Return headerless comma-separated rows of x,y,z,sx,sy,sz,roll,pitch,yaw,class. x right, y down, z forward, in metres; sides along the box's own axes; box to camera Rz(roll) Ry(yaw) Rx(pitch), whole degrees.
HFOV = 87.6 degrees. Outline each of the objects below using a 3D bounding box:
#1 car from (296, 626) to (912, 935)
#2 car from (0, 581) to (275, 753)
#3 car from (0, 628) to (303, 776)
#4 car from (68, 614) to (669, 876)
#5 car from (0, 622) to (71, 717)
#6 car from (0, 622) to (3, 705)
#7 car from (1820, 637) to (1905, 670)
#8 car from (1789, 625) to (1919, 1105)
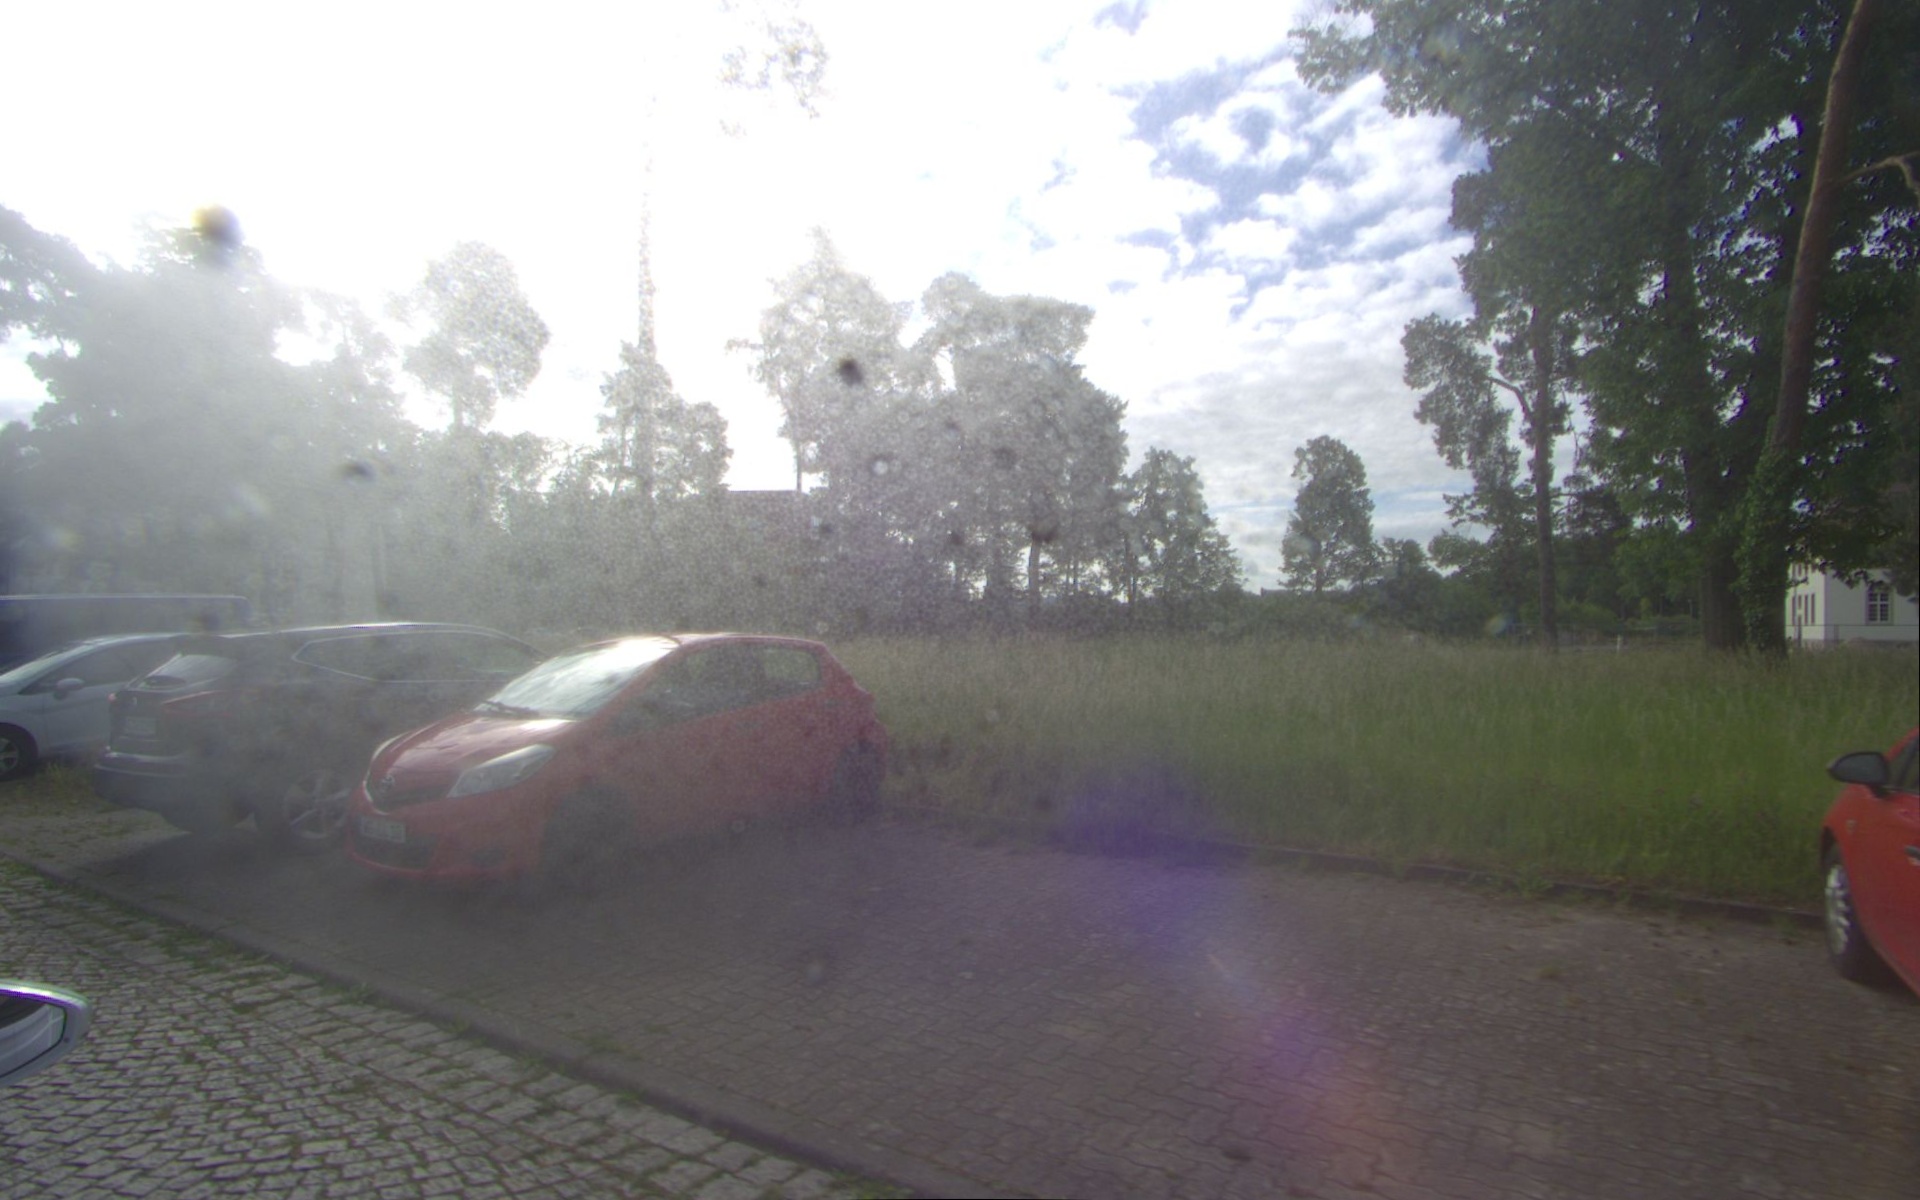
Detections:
-2.183,0.975,7.203,1.713,1.538,3.980,0,-2,32,car
-11.936,0.821,12.991,1.712,2.066,4.777,0,-1,30,car
-9.984,1.083,11.538,1.629,1.443,3.718,0,0,30,car
-4.518,0.960,8.289,1.736,1.600,3.946,0,-2,31,car
-16.474,1.100,15.827,1.639,1.524,3.289,0,-1,30,car
-19.093,1.119,17.118,1.635,1.526,3.602,0,-1,22,car
59.060,3.527,65.693,2.446,2.038,5.822,-1,-3,24,car
3.930,0.864,2.949,1.712,1.525,3.833,0,0,31,car
